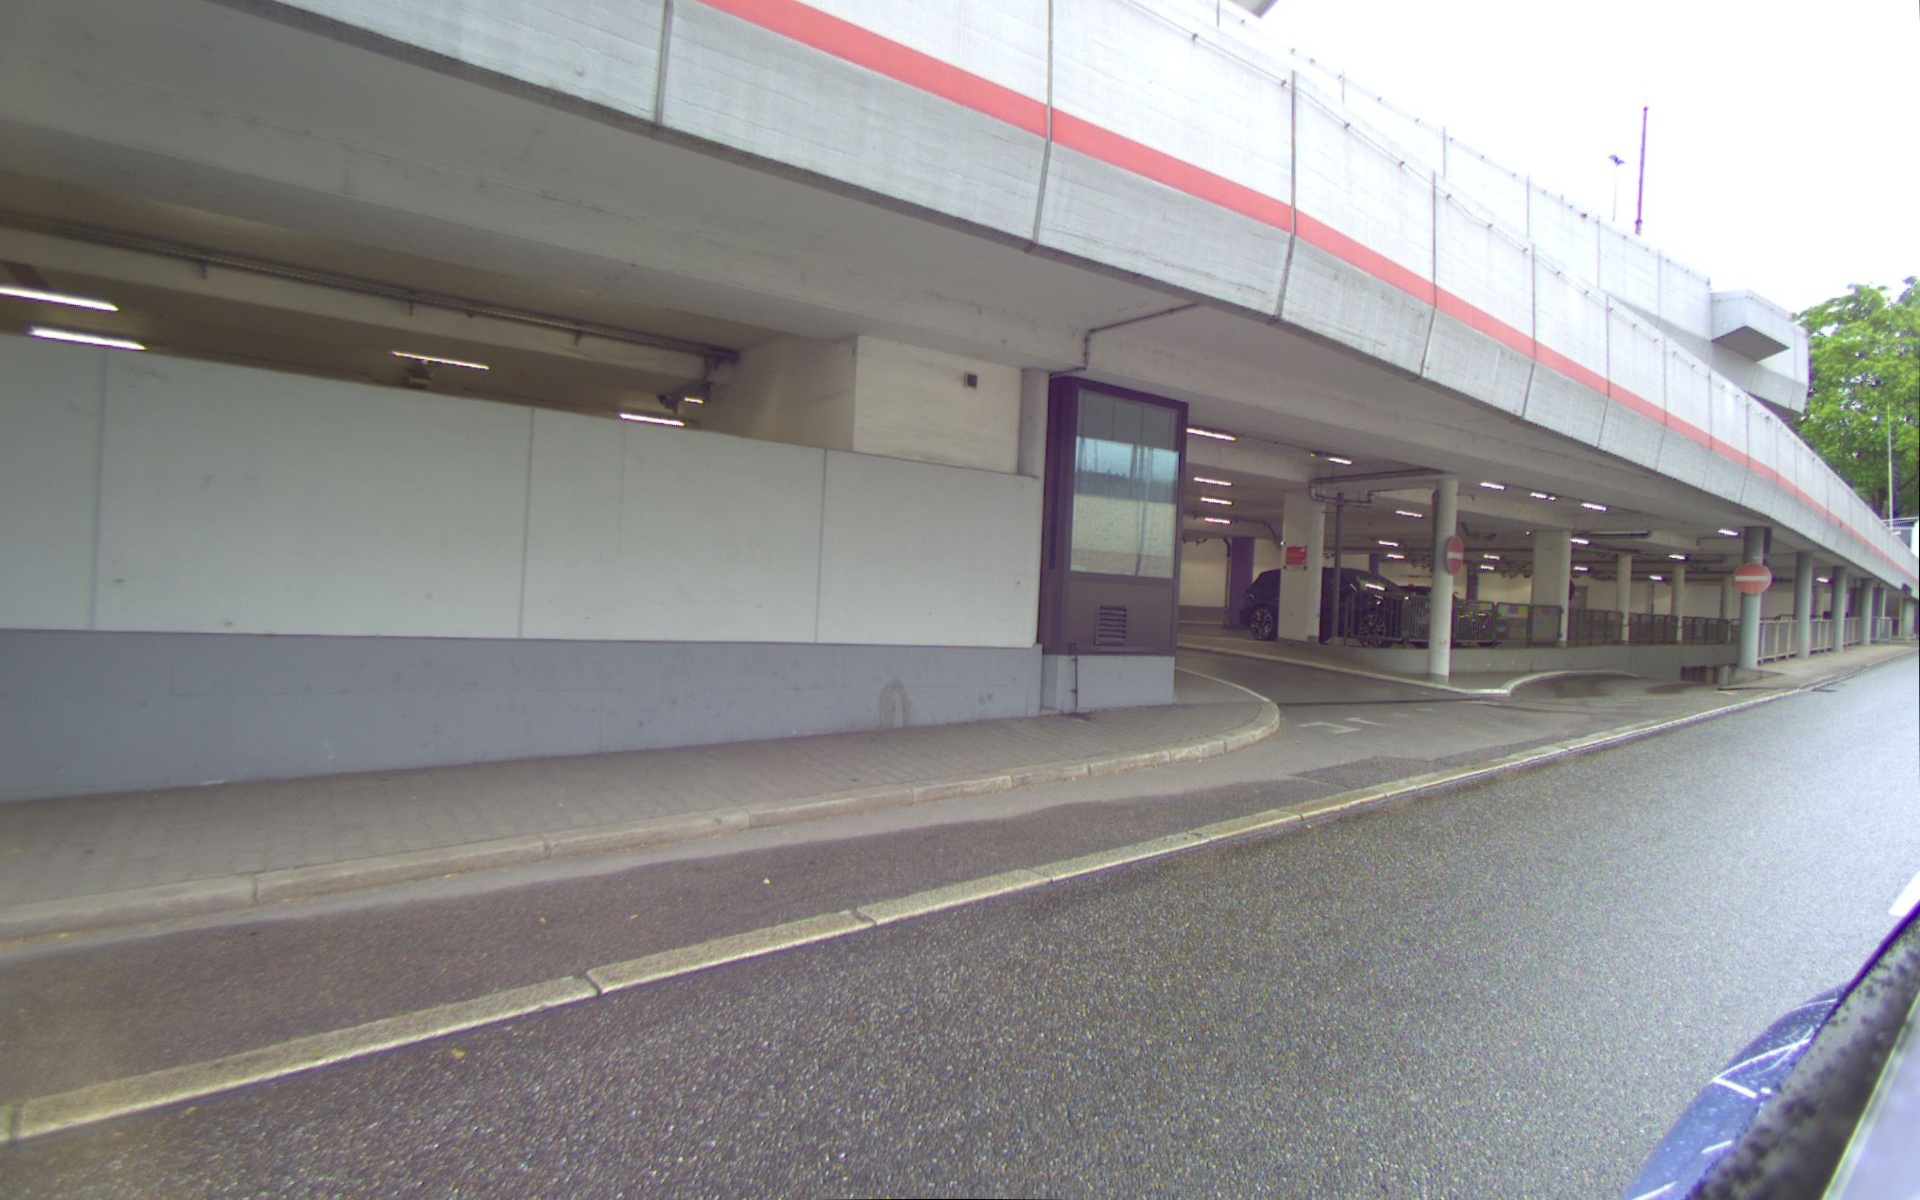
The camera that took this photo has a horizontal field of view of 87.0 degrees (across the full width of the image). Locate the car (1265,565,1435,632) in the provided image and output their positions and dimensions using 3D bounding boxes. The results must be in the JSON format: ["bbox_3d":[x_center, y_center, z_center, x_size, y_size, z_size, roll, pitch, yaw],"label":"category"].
[{"bbox_3d":[10.117,-0.075,26.465,1.773,1.524,3.736,2,2,-36],"label":"car"}]

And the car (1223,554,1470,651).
[{"bbox_3d":[8.034,-0.013,21.466,1.787,1.660,4.594,3,2,-35],"label":"car"}]
